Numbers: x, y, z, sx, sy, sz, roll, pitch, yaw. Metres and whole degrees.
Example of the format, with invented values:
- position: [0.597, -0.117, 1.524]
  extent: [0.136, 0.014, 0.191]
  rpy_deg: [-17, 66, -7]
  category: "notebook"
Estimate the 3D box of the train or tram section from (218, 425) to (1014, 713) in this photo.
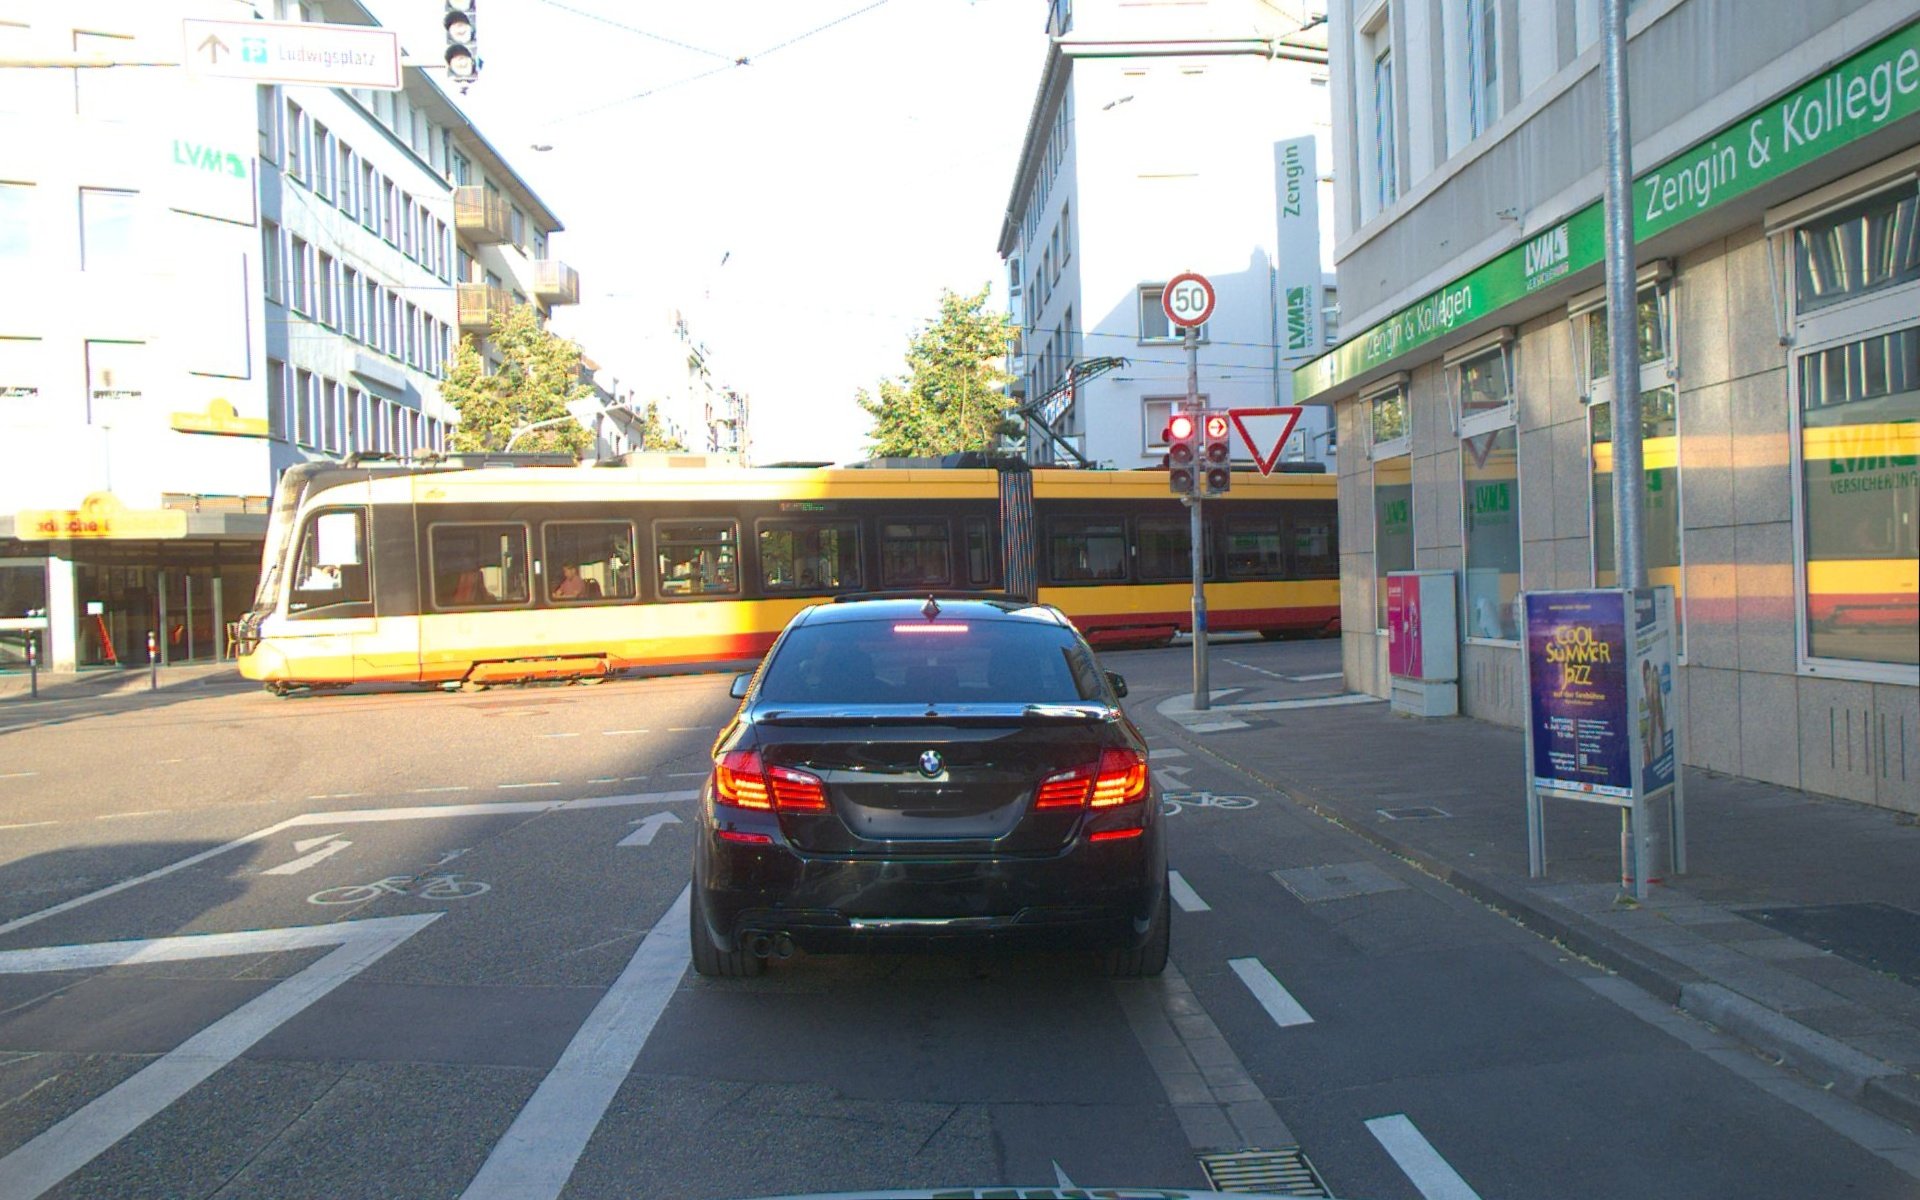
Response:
- position: [-5.159, -0.675, 27.232]
  extent: [12.498, 3.932, 3.047]
  rpy_deg: [-3, 1, -33]
  category: "train or tram section"

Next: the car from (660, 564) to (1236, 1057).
- position: [-0.148, 0.652, 7.634]
  extent: [1.866, 1.567, 4.447]
  rpy_deg: [-1, 1, -3]
  category: "car"

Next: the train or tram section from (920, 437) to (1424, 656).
- position: [4.473, -1.150, 33.292]
  extent: [10.319, 3.877, 3.049]
  rpy_deg: [-3, 1, -31]
  category: "train or tram section"
